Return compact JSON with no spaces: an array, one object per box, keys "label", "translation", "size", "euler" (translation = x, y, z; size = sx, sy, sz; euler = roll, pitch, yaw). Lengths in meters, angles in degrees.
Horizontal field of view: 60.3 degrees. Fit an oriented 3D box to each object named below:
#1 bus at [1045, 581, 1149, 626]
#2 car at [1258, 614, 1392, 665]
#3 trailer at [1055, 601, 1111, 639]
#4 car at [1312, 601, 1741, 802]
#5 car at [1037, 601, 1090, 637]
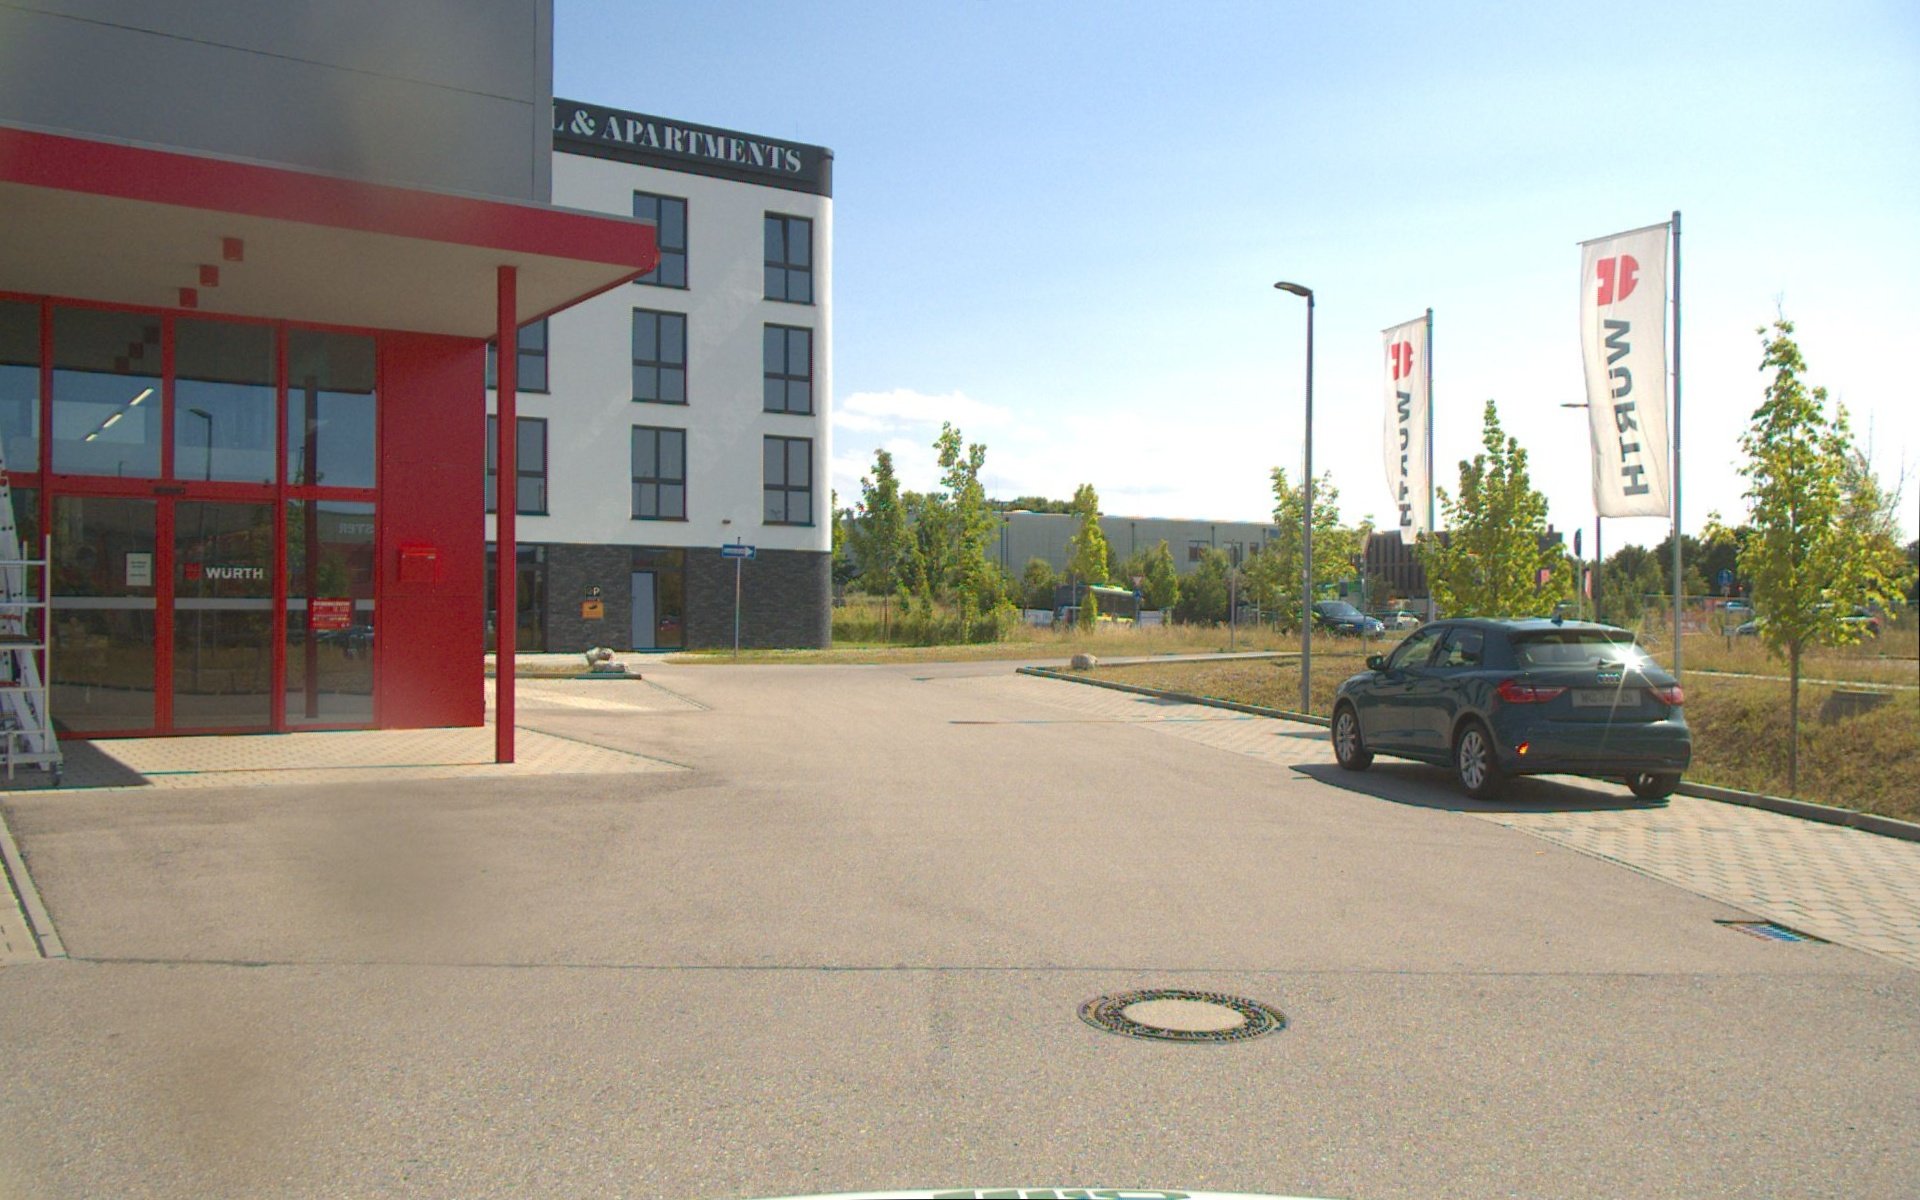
[{"label":"bus","translation":[9.117,0.192,108.343],"size":[2.522,2.783,11.554],"euler":[0,0,27]},{"label":"car","translation":[12.113,1.283,55.197],"size":[1.916,1.578,4.722],"euler":[1,0,-25]},{"label":"trailer","translation":[6.392,1.011,86.423],"size":[1.791,1.892,3.985],"euler":[1,0,-14]},{"label":"car","translation":[4.718,0.757,14.501],"size":[1.806,1.475,4.218],"euler":[0,0,-9]},{"label":"car","translation":[5.636,1.012,90.281],"size":[1.791,1.892,3.985],"euler":[1,0,-14]}]
